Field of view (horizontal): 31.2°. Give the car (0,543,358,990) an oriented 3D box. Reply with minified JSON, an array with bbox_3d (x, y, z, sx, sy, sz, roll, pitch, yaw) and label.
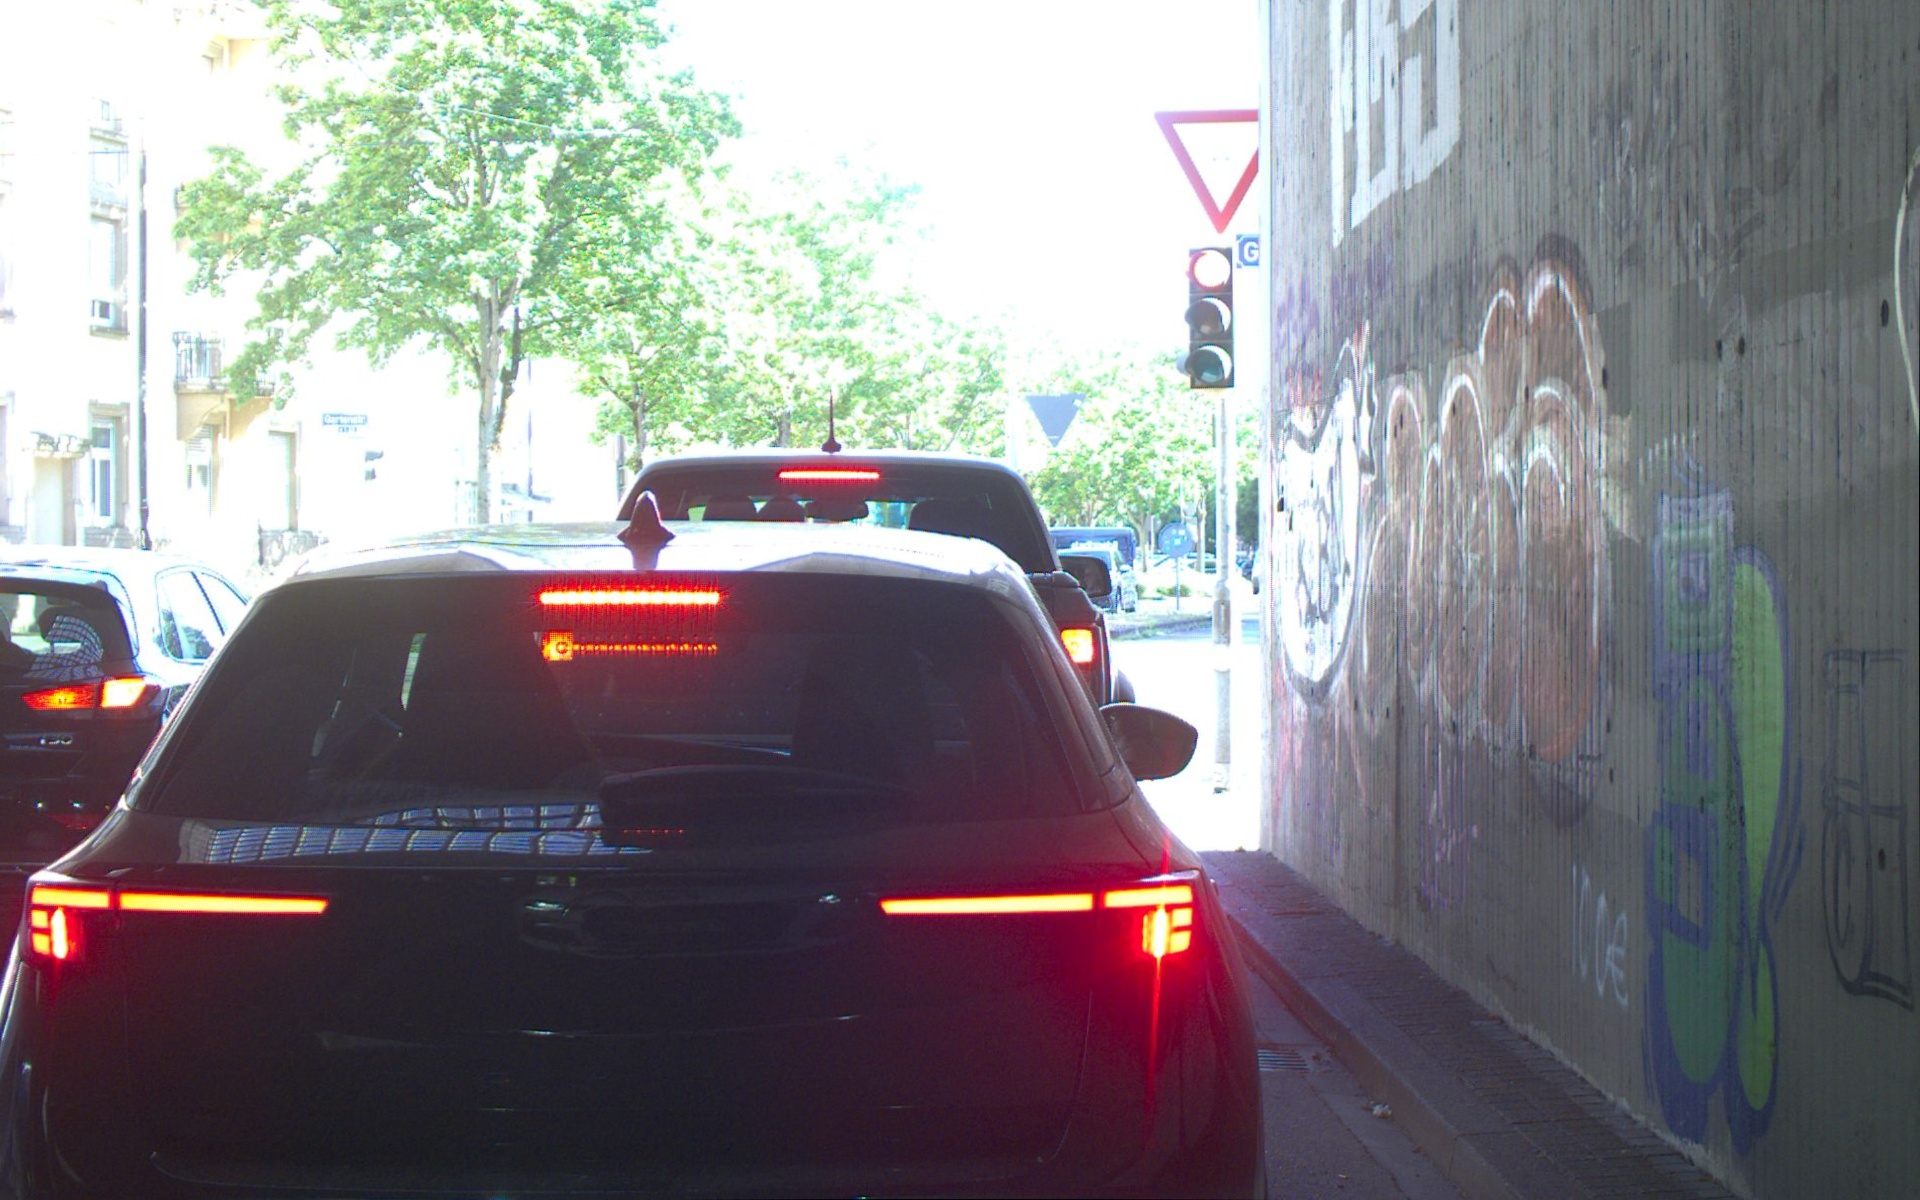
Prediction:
[{"bbox_3d":[-3.524,0.520,13.294,1.762,1.475,3.844,0,1,-1],"label":"car"}]

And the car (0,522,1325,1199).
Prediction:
[{"bbox_3d":[-0.475,0.639,6.106,1.762,1.526,4.089,0,1,-1],"label":"car"}]

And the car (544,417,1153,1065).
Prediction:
[{"bbox_3d":[-0.347,0.377,12.046,1.762,1.876,4.146,0,1,-1],"label":"car"}]

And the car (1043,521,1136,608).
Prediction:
[{"bbox_3d":[2.596,-0.705,68.321,1.754,1.661,3.944,1,1,3],"label":"car"}]

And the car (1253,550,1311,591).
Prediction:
[{"bbox_3d":[13.530,-1.244,144.301,1.818,1.661,4.813,1,1,13],"label":"car"}]

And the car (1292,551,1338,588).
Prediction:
[{"bbox_3d":[16.262,-1.405,157.441,1.754,1.661,3.943,1,1,11],"label":"car"}]

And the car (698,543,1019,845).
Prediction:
[{"bbox_3d":[-0.532,0.439,19.266,1.609,1.508,4.054,0,1,-1],"label":"car"}]

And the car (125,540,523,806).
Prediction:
[{"bbox_3d":[-3.775,0.374,21.018,1.762,1.475,3.844,0,1,-1],"label":"car"}]

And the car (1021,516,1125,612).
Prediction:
[{"bbox_3d":[2.076,-0.650,62.202,1.754,1.661,3.944,1,1,3],"label":"car"}]
